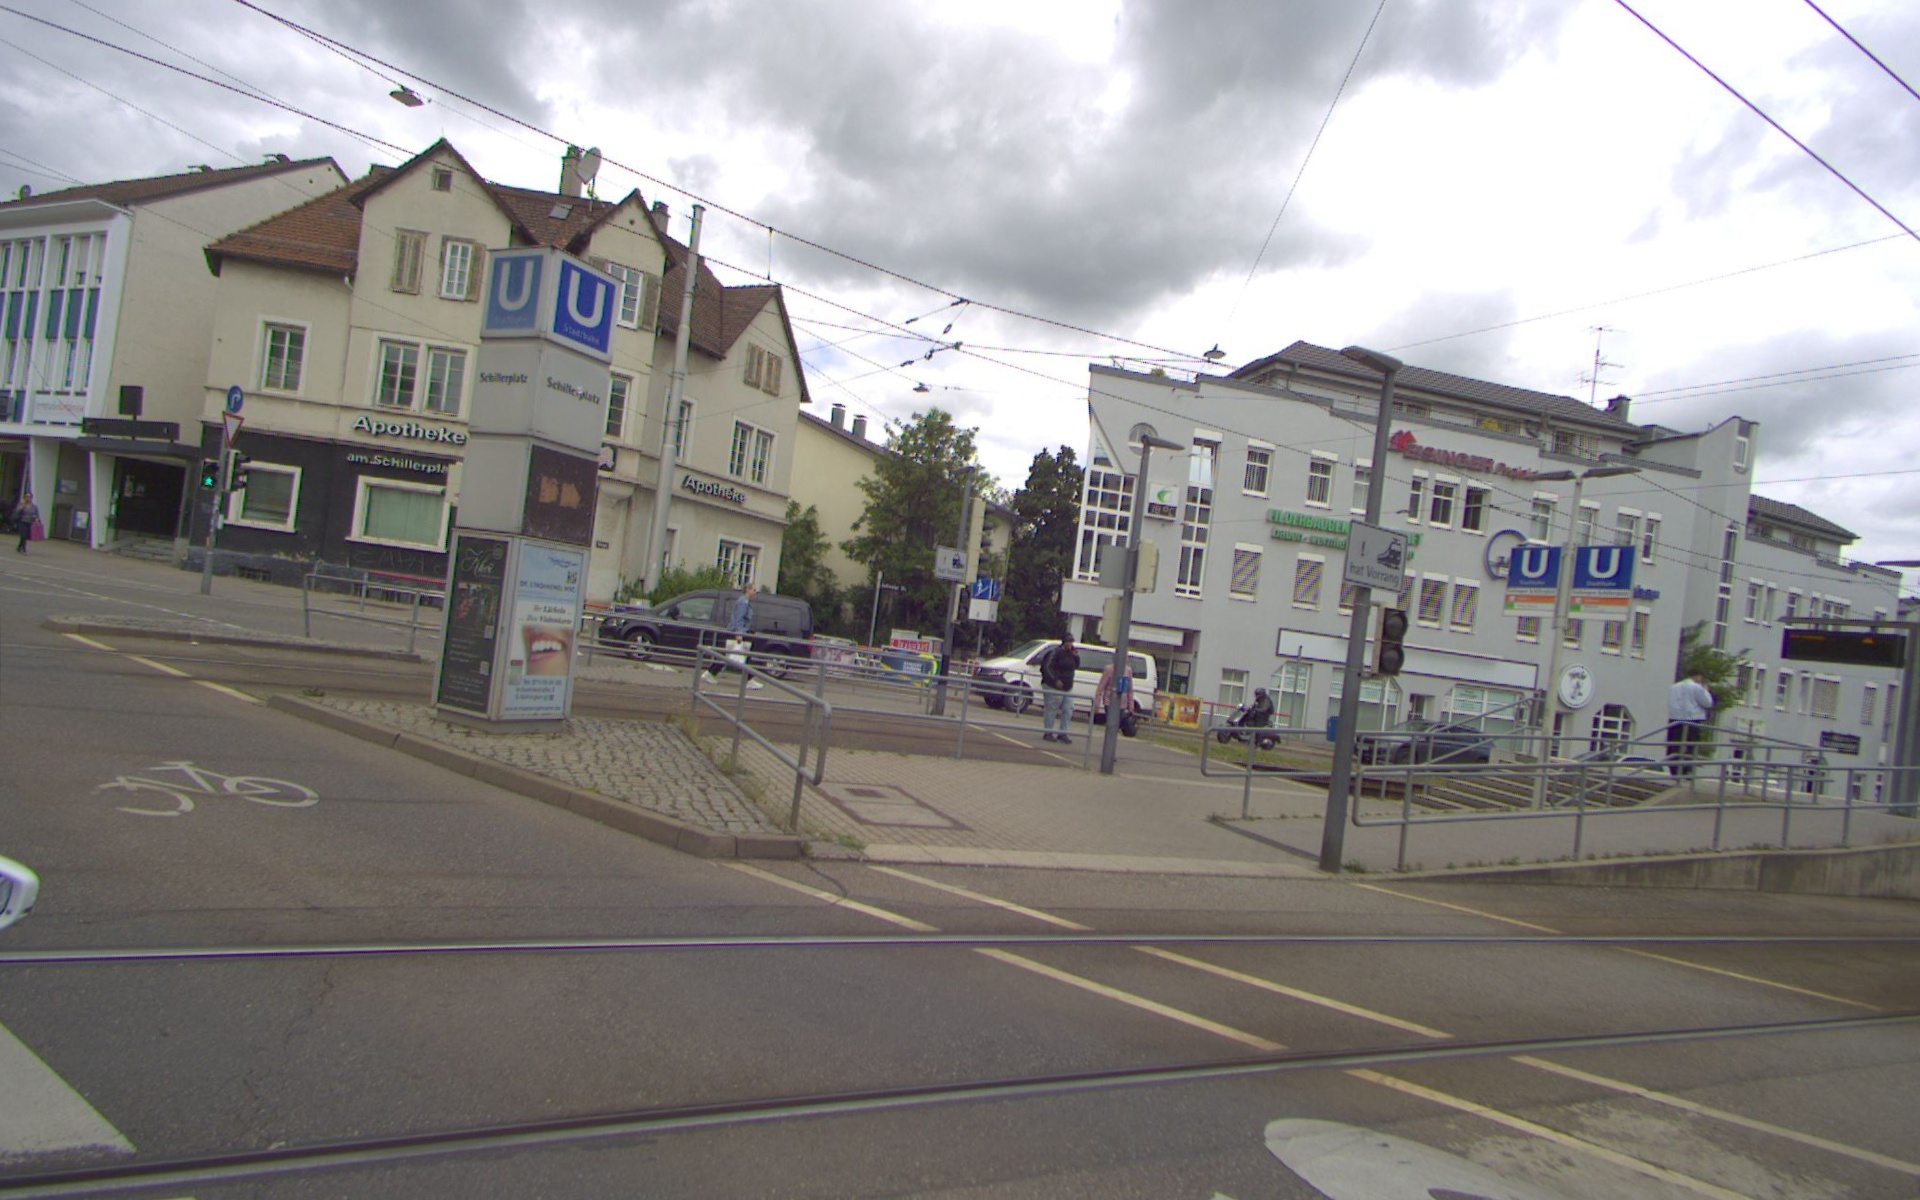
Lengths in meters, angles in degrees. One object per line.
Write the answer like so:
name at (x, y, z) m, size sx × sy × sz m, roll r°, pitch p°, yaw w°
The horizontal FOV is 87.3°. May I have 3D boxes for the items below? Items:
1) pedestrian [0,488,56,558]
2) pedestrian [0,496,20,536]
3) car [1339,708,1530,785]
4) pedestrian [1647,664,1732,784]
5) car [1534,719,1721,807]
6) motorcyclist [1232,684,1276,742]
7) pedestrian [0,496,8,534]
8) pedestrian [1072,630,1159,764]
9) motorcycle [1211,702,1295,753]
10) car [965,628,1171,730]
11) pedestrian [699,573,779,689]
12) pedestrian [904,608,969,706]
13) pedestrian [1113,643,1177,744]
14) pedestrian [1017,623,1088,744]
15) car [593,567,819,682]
pedestrian at (-23.754, -1.944, 25.514) m, size 0.881 × 1.610 × 0.643 m, roll 8°, pitch -1°, yaw 4°
pedestrian at (-29.775, -2.643, 31.097) m, size 0.631 × 1.177 × 0.739 m, roll 7°, pitch -1°, yaw 22°
car at (13.592, 4.184, 28.901) m, size 4.711 × 1.487 × 1.986 m, roll 8°, pitch -3°, yaw -15°
pedestrian at (11.451, 1.938, 15.801) m, size 0.642 × 1.739 × 0.700 m, roll 7°, pitch 0°, yaw -26°
car at (20.134, 4.909, 30.387) m, size 4.711 × 1.940 × 1.985 m, roll 8°, pitch -2°, yaw -15°
motorcyclist at (7.883, 3.019, 26.979) m, size 0.682 × 1.410 × 0.762 m, roll 8°, pitch -2°, yaw -15°
pedestrian at (-30.371, -2.718, 31.336) m, size 0.631 × 1.177 × 0.739 m, roll 7°, pitch -1°, yaw 22°
pedestrian at (2.170, 1.354, 14.007) m, size 0.641 × 1.737 × 0.786 m, roll 7°, pitch -2°, yaw 43°
motorcycle at (7.844, 3.424, 26.974) m, size 1.950 × 1.085 × 0.762 m, roll 8°, pitch -2°, yaw -15°
car at (2.736, 2.020, 25.844) m, size 4.711 × 1.940 × 1.985 m, roll 8°, pitch -2°, yaw -15°
pedestrian at (-3.553, 0.512, 16.193) m, size 0.714 × 1.739 × 0.843 m, roll 7°, pitch 0°, yaw 21°
pedestrian at (-0.446, 1.087, 19.243) m, size 0.783 × 1.737 × 0.644 m, roll 10°, pitch -2°, yaw -35°
pedestrian at (3.423, 1.721, 18.656) m, size 0.641 × 1.737 × 0.786 m, roll 9°, pitch -1°, yaw -18°
pedestrian at (1.424, 1.283, 15.473) m, size 0.639 × 1.739 × 0.703 m, roll 7°, pitch 0°, yaw 33°
car at (-5.770, 0.553, 22.841) m, size 4.634 × 1.843 × 1.854 m, roll 9°, pitch 1°, yaw -21°
